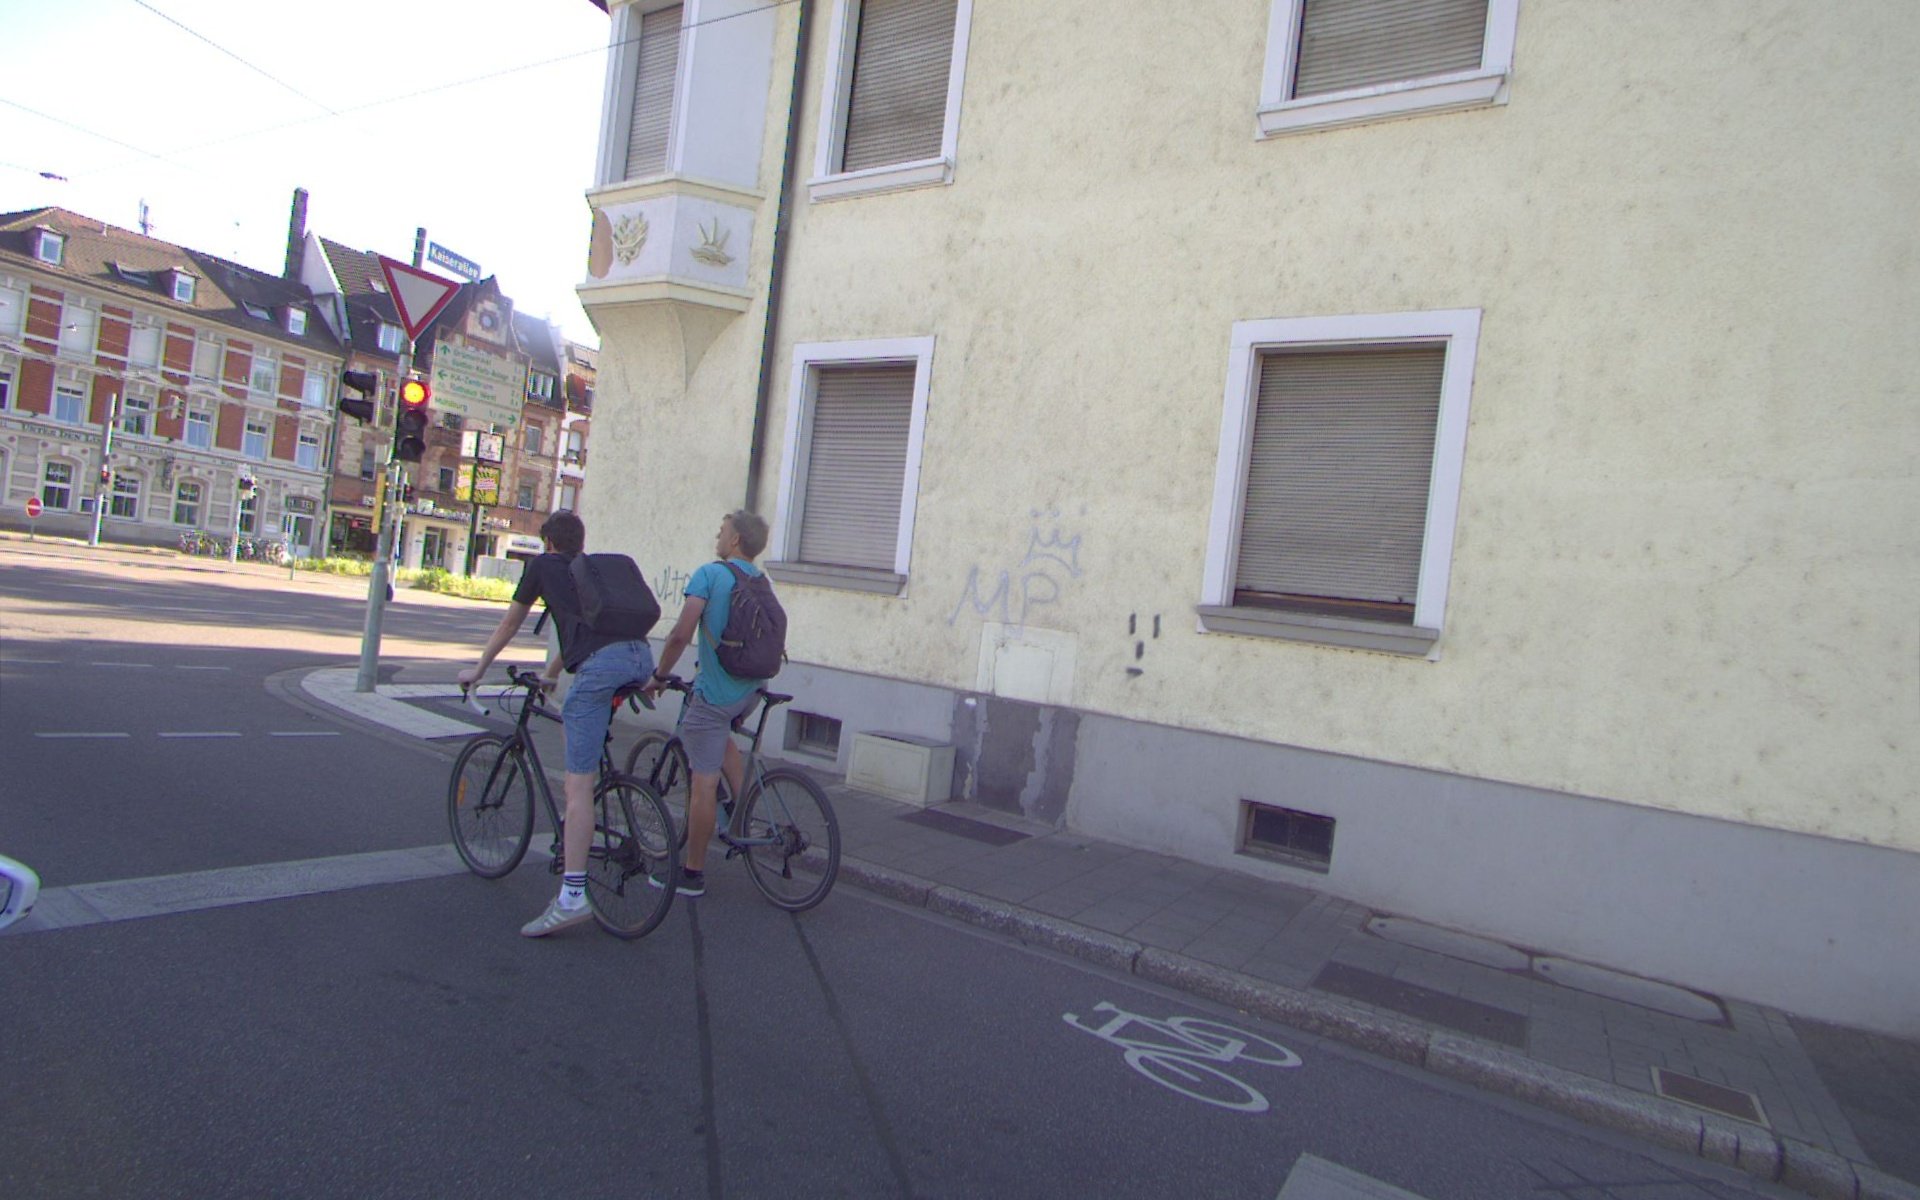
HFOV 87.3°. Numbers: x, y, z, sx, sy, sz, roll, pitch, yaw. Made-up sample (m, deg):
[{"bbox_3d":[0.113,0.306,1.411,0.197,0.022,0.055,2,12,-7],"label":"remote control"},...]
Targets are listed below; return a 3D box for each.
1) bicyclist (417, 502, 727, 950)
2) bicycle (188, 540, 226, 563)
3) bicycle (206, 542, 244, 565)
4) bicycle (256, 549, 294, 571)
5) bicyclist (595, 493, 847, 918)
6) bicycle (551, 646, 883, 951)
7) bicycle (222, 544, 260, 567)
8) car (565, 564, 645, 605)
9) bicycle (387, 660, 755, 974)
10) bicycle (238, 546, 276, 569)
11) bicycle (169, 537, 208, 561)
[{"bbox_3d":[-1.739,0.493,4.493,1.098,1.722,0.573,7,0,32],"label":"bicyclist"},{"bbox_3d":[-34.556,-2.227,46.147,2.125,0.850,0.659,6,-2,33],"label":"bicycle"},{"bbox_3d":[-34.183,-2.153,46.768,2.125,0.850,0.659,6,-2,33],"label":"bicycle"},{"bbox_3d":[-33.105,-1.937,48.600,2.125,0.850,0.659,6,-2,33],"label":"bicycle"},{"bbox_3d":[-1.251,0.499,5.224,0.930,1.958,0.518,10,2,35],"label":"bicyclist"},{"bbox_3d":[-1.317,0.938,5.234,1.767,1.104,0.518,9,1,35],"label":"bicycle"},{"bbox_3d":[-33.849,-2.085,47.365,2.125,0.850,0.659,6,-2,33],"label":"bicycle"},{"bbox_3d":[-23.018,-0.992,65.328,1.968,2.038,4.430,7,-1,34],"label":"car"},{"bbox_3d":[-1.787,0.877,4.514,1.721,0.982,0.519,7,0,32],"label":"bicycle"},{"bbox_3d":[-33.493,-2.017,47.895,2.125,0.850,0.659,6,-2,33],"label":"bicycle"},{"bbox_3d":[-34.872,-2.295,45.480,2.125,0.850,0.659,6,-2,33],"label":"bicycle"}]
